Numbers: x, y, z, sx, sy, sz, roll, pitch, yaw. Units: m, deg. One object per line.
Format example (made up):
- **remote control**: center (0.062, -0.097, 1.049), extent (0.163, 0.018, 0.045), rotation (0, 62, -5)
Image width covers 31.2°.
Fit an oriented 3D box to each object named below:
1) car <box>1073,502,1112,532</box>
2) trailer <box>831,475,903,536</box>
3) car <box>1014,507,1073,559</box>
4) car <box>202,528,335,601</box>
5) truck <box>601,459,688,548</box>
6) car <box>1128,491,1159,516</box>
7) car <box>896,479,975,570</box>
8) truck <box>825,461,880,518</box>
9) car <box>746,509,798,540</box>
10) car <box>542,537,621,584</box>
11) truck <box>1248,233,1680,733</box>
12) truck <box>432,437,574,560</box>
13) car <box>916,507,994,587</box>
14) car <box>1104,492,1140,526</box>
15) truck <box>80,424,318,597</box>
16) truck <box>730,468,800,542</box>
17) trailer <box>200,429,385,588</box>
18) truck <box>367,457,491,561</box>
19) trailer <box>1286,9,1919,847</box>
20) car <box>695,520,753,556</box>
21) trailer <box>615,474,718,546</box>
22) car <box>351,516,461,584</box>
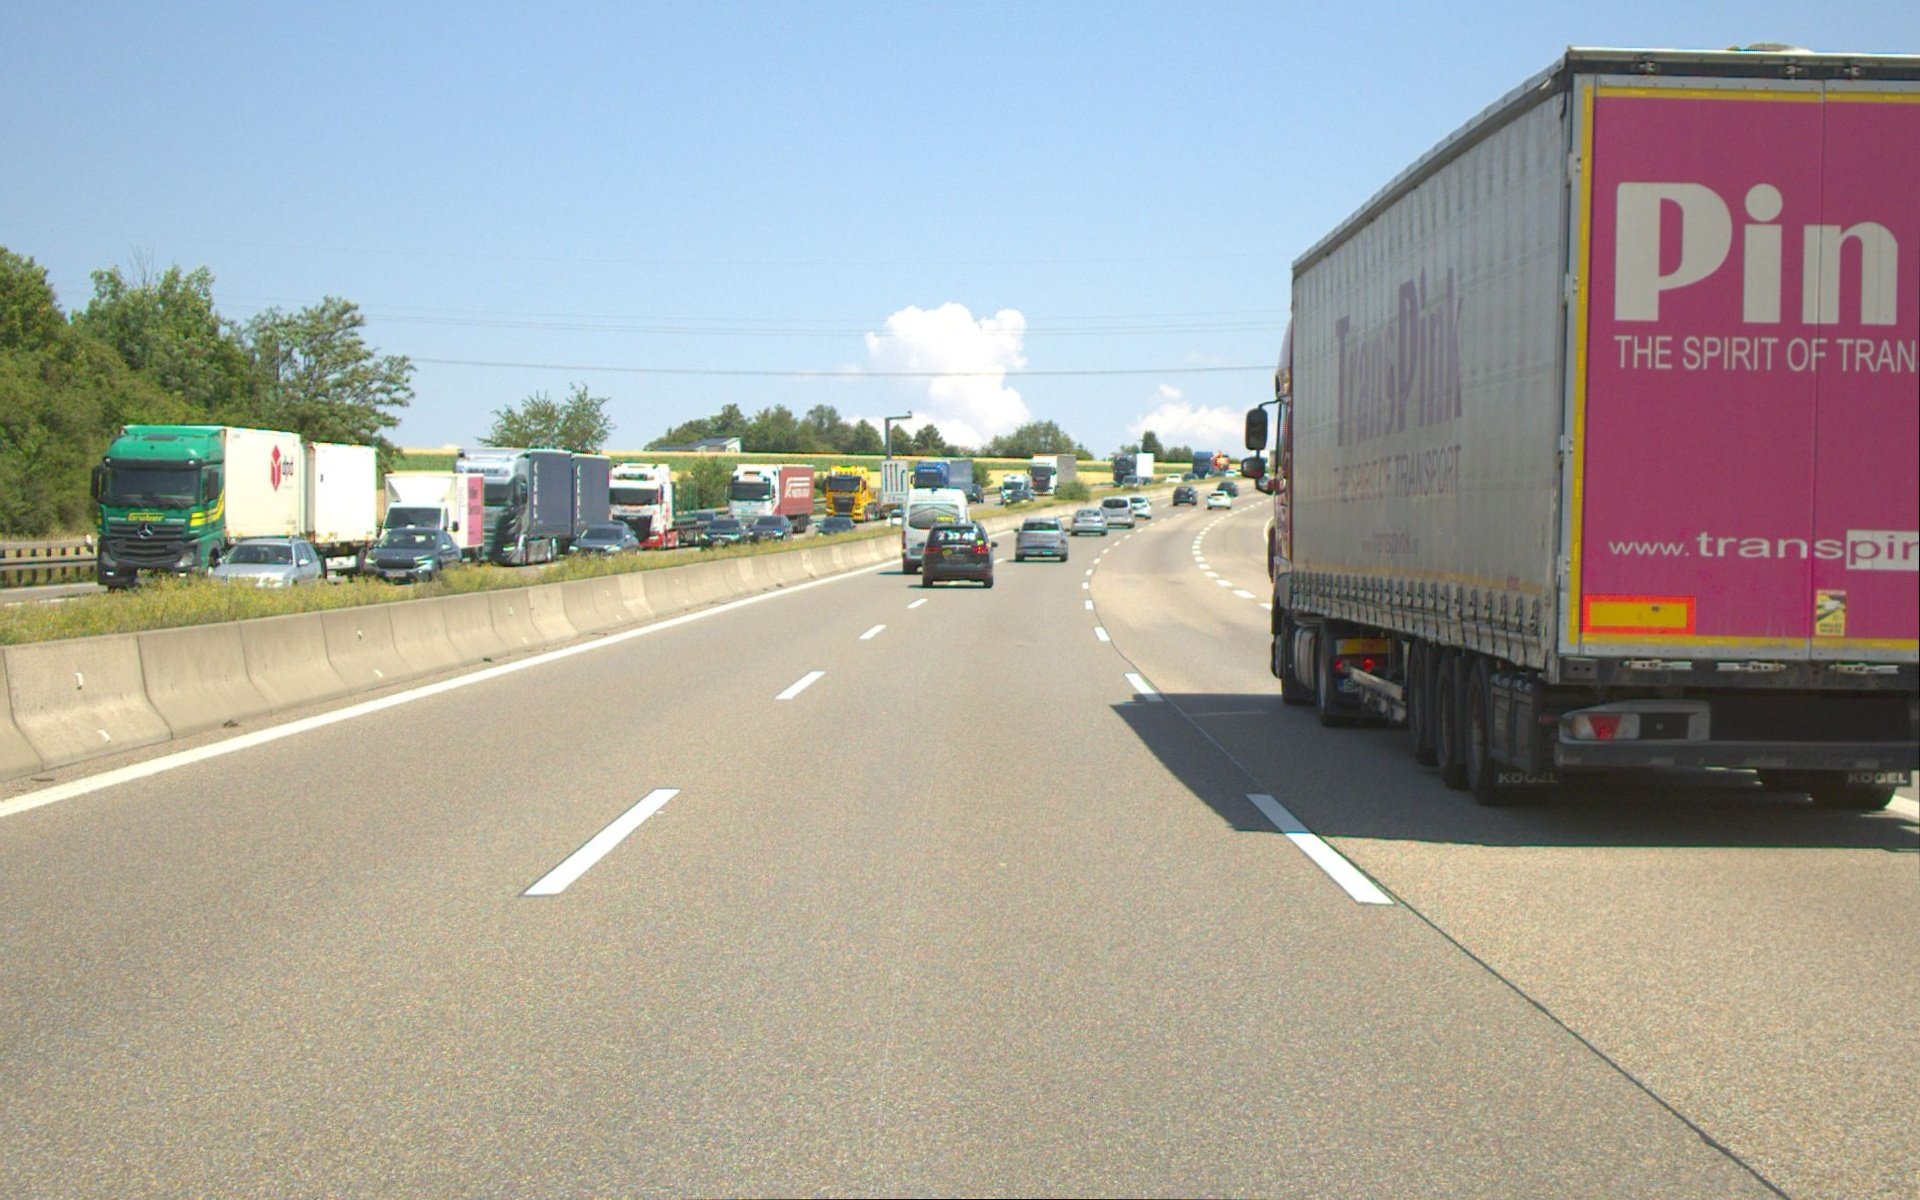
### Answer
- **car**: center (7.010, -4.382, 181.991), extent (1.993, 1.579, 4.000), rotation (0, 1, 1)
- **trailer**: center (-6.466, -6.722, 241.699), extent (2.953, 4.086, 14.379), rotation (1, 2, 7)
- **car**: center (3.043, -2.414, 124.593), extent (1.994, 1.744, 3.999), rotation (1, 0, 3)
- **car**: center (-14.441, -0.717, 72.031), extent (1.751, 1.455, 4.858), rotation (1, 0, 0)
- **truck**: center (-14.060, -4.341, 153.673), extent (2.901, 3.863, 6.178), rotation (1, 2, 4)
- **car**: center (12.513, -6.571, 234.395), extent (1.994, 1.546, 4.000), rotation (1, 3, 4)
- **car**: center (-0.717, -2.267, 104.733), extent (2.180, 2.616, 4.672), rotation (1, 0, 2)
- **truck**: center (-7.313, -7.586, 234.645), extent (2.751, 3.823, 7.097), rotation (1, 2, 7)
- **car**: center (-9.153, -3.694, 167.952), extent (1.994, 1.450, 5.170), rotation (0, 2, 3)
- **car**: center (-13.117, -1.384, 119.403), extent (1.993, 1.540, 5.494), rotation (0, 1, 2)
- **truck**: center (4.334, -1.015, 30.971), extent (2.916, 3.995, 6.511), rotation (1, 1, 0)
- **truck**: center (-16.280, -3.635, 123.296), extent (3.001, 4.219, 10.733), rotation (0, 2, 4)
- **car**: center (-0.101, -1.366, 87.308), extent (1.847, 1.854, 4.206), rotation (0, 3, 2)
- **car**: center (9.592, -5.408, 203.816), extent (1.993, 1.897, 4.000), rotation (0, 0, 0)
- **truck**: center (-18.365, -2.193, 83.844), extent (2.843, 3.885, 11.247), rotation (-1, 2, 2)
- **truck**: center (-10.890, -5.351, 192.448), extent (3.036, 4.067, 6.314), rotation (1, 2, 5)
- **trailer**: center (-17.872, -2.472, 92.596), extent (2.920, 4.057, 8.230), rotation (-1, 2, 3)
- **truck**: center (-16.846, -2.920, 109.493), extent (2.538, 3.196, 7.589), rotation (0, 2, 2)
- **trailer**: center (4.366, -0.985, 23.848), extent (2.918, 4.103, 13.859), rotation (1, 1, 0)
- **car**: center (-10.314, -2.729, 150.661), extent (1.994, 1.522, 4.772), rotation (1, 2, 3)
- **trailer**: center (-13.606, -4.250, 160.247), extent (2.858, 3.194, 12.783), rotation (1, 2, 4)
- **car**: center (-14.065, -1.243, 87.529), extent (1.861, 1.636, 5.113), rotation (0, 0, 1)
